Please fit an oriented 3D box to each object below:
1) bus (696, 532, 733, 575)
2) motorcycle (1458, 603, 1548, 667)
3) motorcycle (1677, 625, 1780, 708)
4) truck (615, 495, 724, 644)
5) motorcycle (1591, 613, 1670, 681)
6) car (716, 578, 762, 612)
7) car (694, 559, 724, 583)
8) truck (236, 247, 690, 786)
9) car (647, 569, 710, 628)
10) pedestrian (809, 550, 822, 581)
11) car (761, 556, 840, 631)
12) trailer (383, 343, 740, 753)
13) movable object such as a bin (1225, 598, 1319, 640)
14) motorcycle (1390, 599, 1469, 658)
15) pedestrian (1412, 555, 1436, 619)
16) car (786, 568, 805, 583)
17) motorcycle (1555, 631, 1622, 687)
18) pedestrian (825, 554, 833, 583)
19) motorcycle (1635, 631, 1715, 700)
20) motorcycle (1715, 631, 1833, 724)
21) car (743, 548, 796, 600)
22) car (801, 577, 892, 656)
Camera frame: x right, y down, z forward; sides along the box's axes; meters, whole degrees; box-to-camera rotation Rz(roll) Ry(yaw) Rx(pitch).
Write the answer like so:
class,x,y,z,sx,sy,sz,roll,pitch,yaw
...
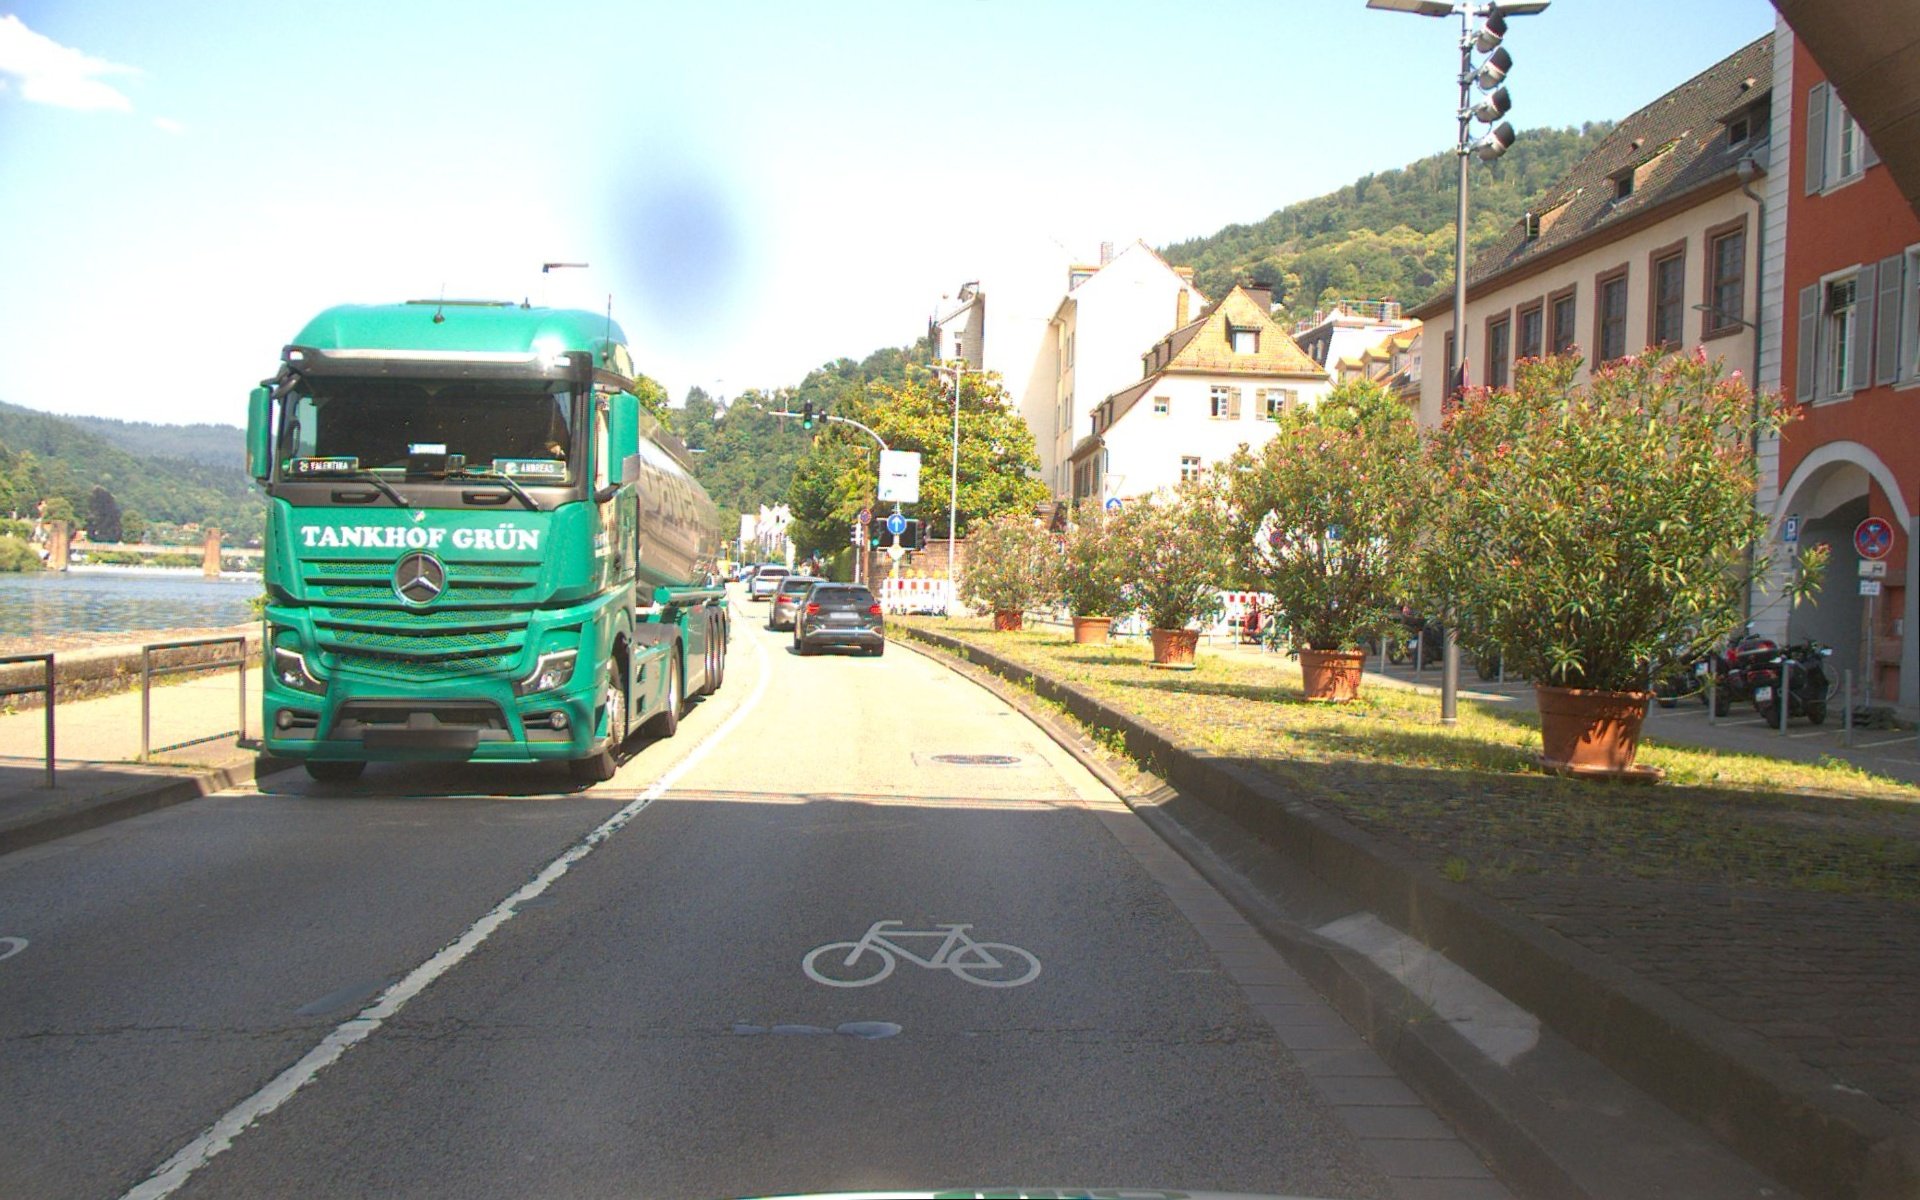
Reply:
class,x,y,z,sx,sy,sz,roll,pitch,yaw
bus,-17.789,-3.379,120.228,2.548,2.946,8.434,1,2,-8
motorcycle,11.312,0.712,34.425,2.163,1.289,0.772,0,1,-40
motorcycle,12.553,1.056,26.980,0.828,1.255,2.138,2,1,45
truck,-7.211,-0.780,41.307,2.333,3.318,7.595,-2,2,-9
motorcycle,12.192,0.839,30.037,0.617,1.168,2.185,1,1,41
car,-11.581,-0.281,86.576,1.959,1.691,3.986,1,0,-14
car,-15.693,-1.836,103.145,1.775,1.430,4.347,1,2,-10
truck,-4.036,-0.664,14.912,2.473,3.814,6.242,-1,1,-3
car,-8.651,-0.077,50.925,1.828,1.710,4.445,0,1,-9
pedestrian,-8.369,-1.976,95.875,0.668,1.773,0.911,1,0,-8
car,-4.626,-0.169,47.530,1.957,2.049,3.990,1,-1,-10
trailer,-4.379,-0.550,20.782,2.474,3.707,11.522,0,1,-4
movable object such as a bin,8.946,0.530,47.320,1.237,1.129,2.935,2,1,45
motorcycle,10.669,0.634,37.563,2.177,1.289,0.619,0,1,-40
pedestrian,13.640,-0.383,48.621,0.485,1.854,0.618,0,-1,-5
car,-17.872,-2.644,179.423,1.955,1.478,4.002,0,-1,-7
motorcycle,12.017,1.109,31.586,0.537,1.004,1.920,1,1,41
pedestrian,-7.660,-1.831,96.538,0.447,1.634,0.578,1,0,-7
motorcycle,12.338,1.106,28.502,0.617,1.095,2.185,1,1,41
motorcycle,12.238,1.134,24.824,0.828,1.254,2.525,2,1,45
car,-8.160,-1.081,70.615,1.957,2.049,3.991,3,0,-10
car,-2.507,0.318,35.928,1.821,1.550,3.996,2,1,-5
